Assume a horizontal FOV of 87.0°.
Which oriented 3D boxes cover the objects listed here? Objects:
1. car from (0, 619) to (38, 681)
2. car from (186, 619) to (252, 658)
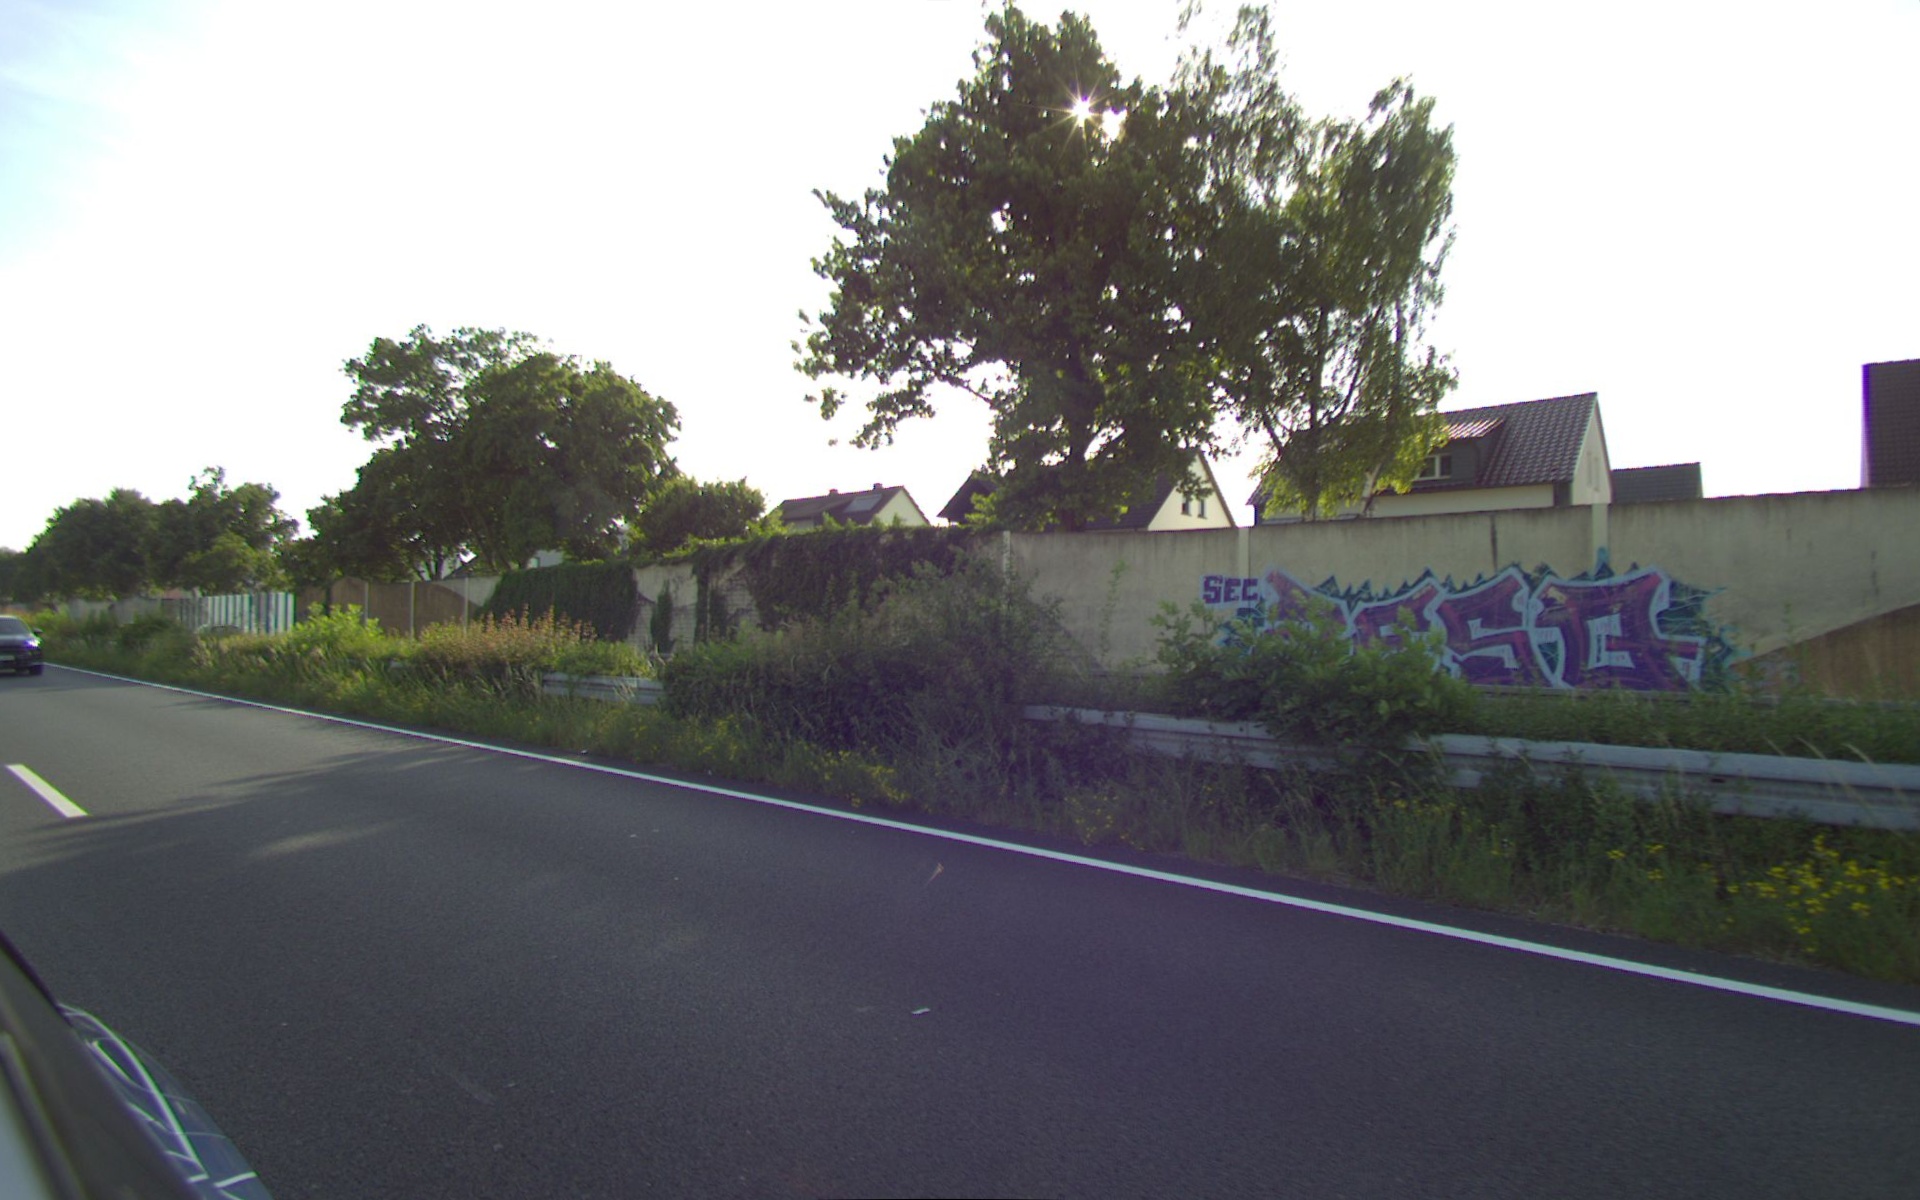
[{"bbox_3d":[-26.156,1.313,27.076,4.245,1.536,1.798,-1,0,42],"label":"car"},{"bbox_3d":[-38.309,1.964,52.291,4.363,1.869,1.816,-1,0,40],"label":"car"}]
